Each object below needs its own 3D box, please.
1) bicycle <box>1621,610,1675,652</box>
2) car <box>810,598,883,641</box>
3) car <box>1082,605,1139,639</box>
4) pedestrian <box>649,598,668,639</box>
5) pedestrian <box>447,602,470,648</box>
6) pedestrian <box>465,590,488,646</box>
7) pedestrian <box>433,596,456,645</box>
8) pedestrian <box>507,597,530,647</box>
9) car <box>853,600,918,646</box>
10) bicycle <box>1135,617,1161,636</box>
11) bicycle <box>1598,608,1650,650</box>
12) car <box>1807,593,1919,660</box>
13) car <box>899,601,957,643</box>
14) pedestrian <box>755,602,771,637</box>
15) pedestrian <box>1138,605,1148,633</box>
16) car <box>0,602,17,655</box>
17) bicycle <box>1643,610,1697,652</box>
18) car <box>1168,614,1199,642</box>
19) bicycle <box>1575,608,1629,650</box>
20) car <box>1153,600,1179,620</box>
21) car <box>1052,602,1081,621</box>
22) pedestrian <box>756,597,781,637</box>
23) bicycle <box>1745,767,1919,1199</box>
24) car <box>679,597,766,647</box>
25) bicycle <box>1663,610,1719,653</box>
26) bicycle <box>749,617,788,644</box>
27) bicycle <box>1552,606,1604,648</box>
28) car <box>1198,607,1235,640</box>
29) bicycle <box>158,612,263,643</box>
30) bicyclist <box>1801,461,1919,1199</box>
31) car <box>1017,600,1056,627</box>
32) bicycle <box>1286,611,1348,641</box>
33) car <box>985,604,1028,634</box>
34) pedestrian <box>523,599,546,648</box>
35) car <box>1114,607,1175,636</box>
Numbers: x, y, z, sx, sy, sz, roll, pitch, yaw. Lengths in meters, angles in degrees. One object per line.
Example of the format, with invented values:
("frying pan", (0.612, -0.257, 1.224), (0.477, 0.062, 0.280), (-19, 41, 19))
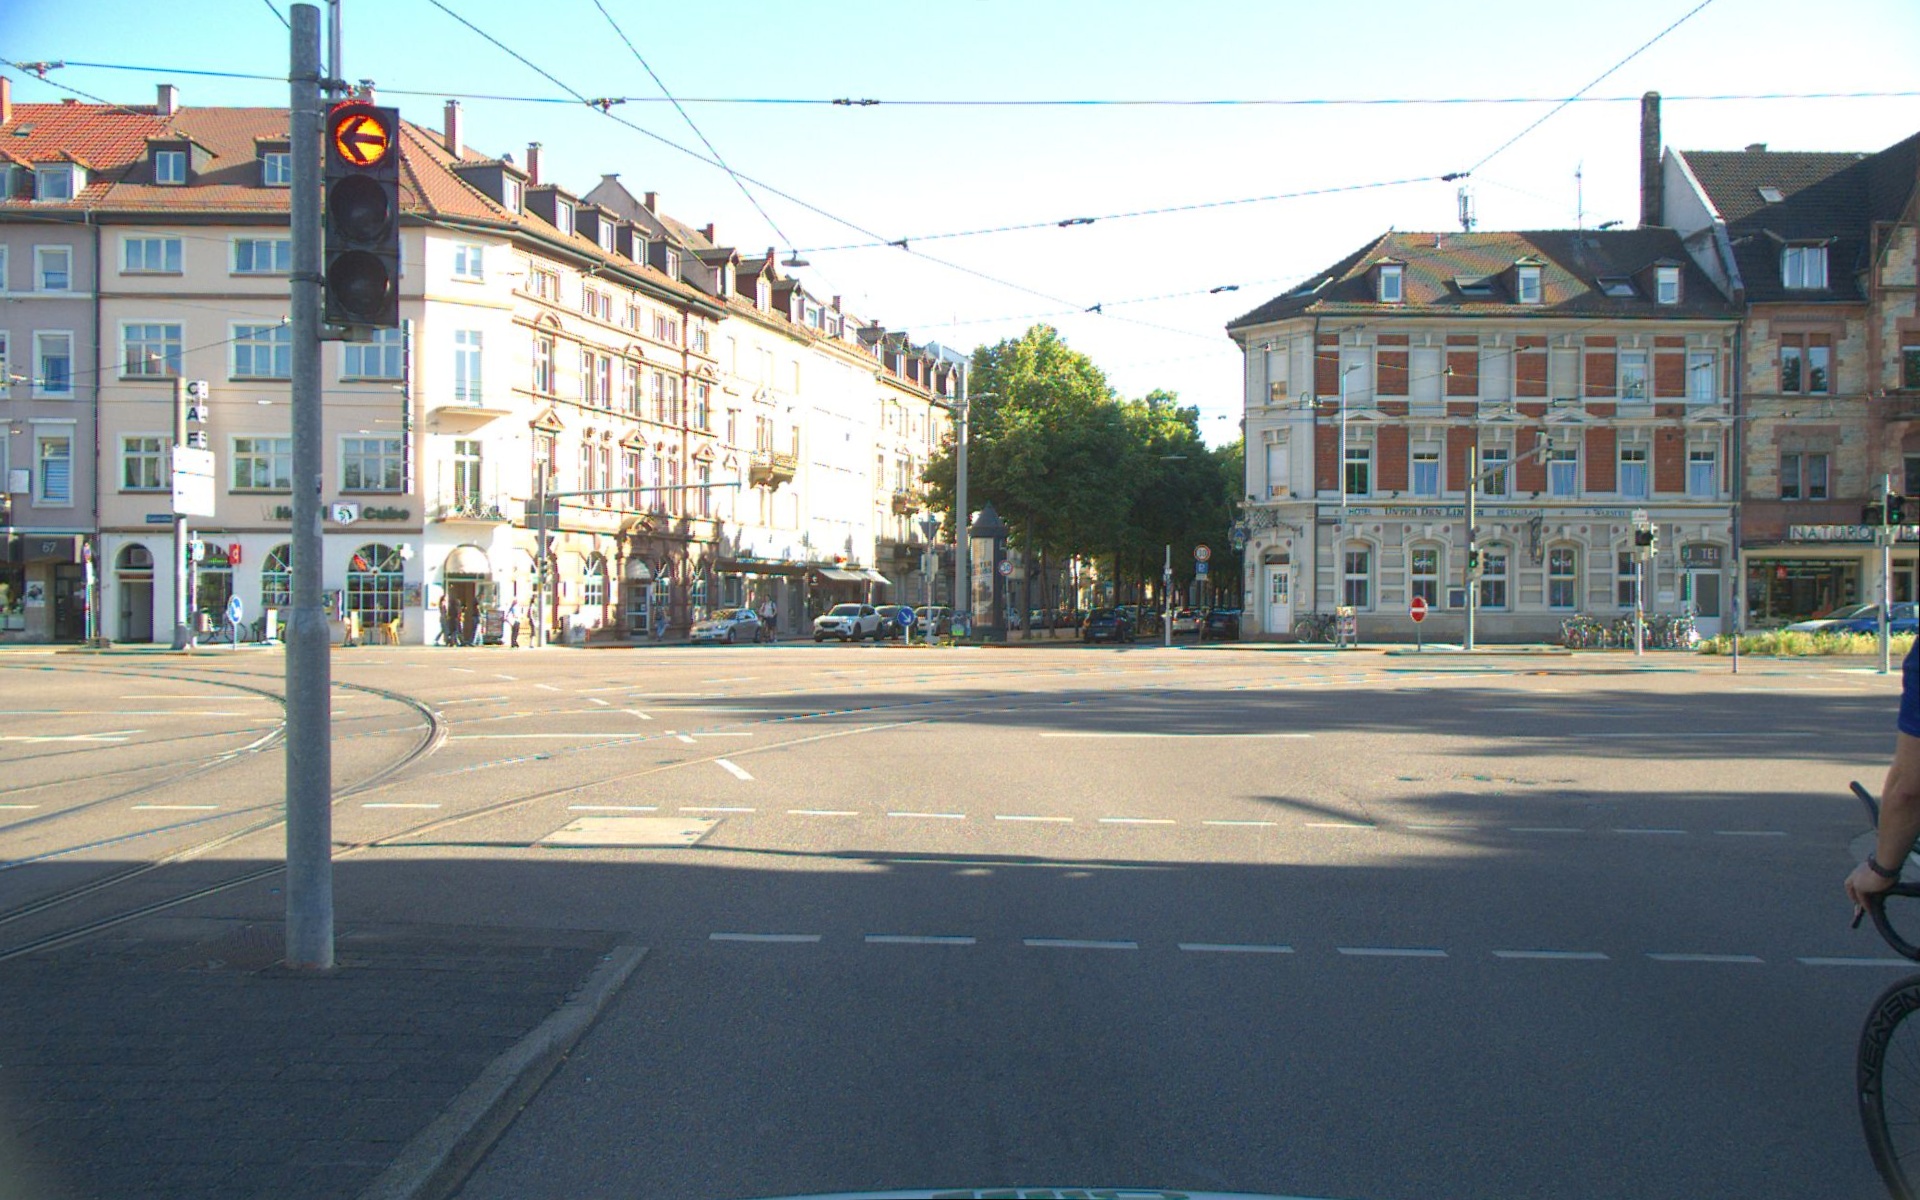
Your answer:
("bicycle", (22.085, 0.969, 53.144), (0.615, 1.309, 2.661), (1, 0, 0))
("car", (-4.581, 0.794, 67.220), (1.951, 1.646, 4.003), (1, 0, 11))
("car", (6.422, 0.939, 70.292), (1.716, 1.386, 3.858), (1, 0, 15))
("pedestrian", (-12.346, 0.757, 67.741), (0.532, 1.660, 0.707), (1, -1, 13))
("pedestrian", (-16.724, 0.824, 55.156), (0.620, 1.502, 0.465), (1, -1, -5))
("pedestrian", (-16.409, 0.609, 56.129), (0.620, 1.914, 0.465), (1, -1, -5))
("pedestrian", (-17.501, 0.708, 56.115), (0.620, 1.640, 0.465), (1, -1, -5))
("pedestrian", (-14.859, 0.750, 55.665), (0.620, 1.662, 0.700), (1, -1, -4))
("car", (-3.280, 1.011, 73.710), (1.951, 1.937, 4.003), (1, 0, 11))
("bicycle", (11.284, 1.571, 99.216), (0.619, 1.104, 1.685), (1, 0, -31))
("bicycle", (21.308, 0.927, 53.141), (0.615, 1.309, 2.661), (1, 0, 0))
("car", (25.933, 0.738, 46.043), (3.706, 1.809, 1.999), (1, 0, -2))
("car", (-1.512, 1.067, 79.756), (1.951, 1.937, 4.003), (1, 0, 11))
("pedestrian", (-9.283, 0.923, 78.009), (0.532, 1.660, 0.707), (1, -1, 13))
("pedestrian", (11.924, 1.219, 107.809), (0.626, 1.827, 0.491), (1, -1, 12))
("car", (-32.385, 0.911, 52.424), (3.902, 1.699, 2.002), (0, 0, 8))
("bicycle", (22.800, 0.972, 53.168), (0.615, 1.309, 2.661), (1, 0, 0))
("car", (12.977, 1.618, 95.943), (1.734, 1.557, 4.003), (1, 0, 8))
("bicycle", (20.597, 0.913, 53.120), (0.678, 1.309, 2.661), (1, 0, 0))
("car", (16.779, 0.833, 134.792), (1.526, 1.540, 3.658), (1, 0, 16))
("car", (8.545, 0.927, 132.330), (1.526, 1.540, 3.658), (1, 0, 16))
("pedestrian", (-7.540, 0.665, 65.081), (0.803, 1.539, 0.598), (1, -1, 14))
("bicycle", (2.209, 0.964, 3.197), (0.613, 1.104, 1.703), (1, 0, 2))
("car", (-9.578, 0.874, 66.950), (1.951, 1.937, 4.002), (1, 0, 17))
("bicycle", (23.484, 0.993, 53.166), (0.615, 1.309, 2.661), (1, 0, 0))
("bicycle", (-7.528, 1.205, 65.152), (0.746, 1.025, 2.398), (1, 0, 13))
("bicycle", (19.822, 0.846, 53.126), (0.678, 1.309, 2.661), (1, 0, 0))
("car", (12.870, 1.142, 82.768), (1.655, 1.592, 3.844), (1, 0, 11))
("bicycle", (-25.516, 0.940, 56.345), (3.066, 0.997, 1.001), (1, 0, -1))
("bicyclist", (2.210, 0.489, 3.287), (0.625, 1.520, 0.884), (1, 1, 3))
("car", (5.678, 1.019, 122.562), (1.951, 1.937, 4.002), (1, 0, 16))
("bicycle", (12.352, 0.885, 57.264), (2.006, 1.015, 0.631), (1, 0, 2))
("car", (3.183, 1.287, 112.730), (1.951, 1.937, 4.002), (1, 0, 16))
("pedestrian", (-14.676, 0.801, 57.037), (0.620, 1.662, 0.700), (1, -1, -4))
("car", (12.854, 1.464, 115.145), (3.902, 1.937, 2.001), (1, 0, 15))
